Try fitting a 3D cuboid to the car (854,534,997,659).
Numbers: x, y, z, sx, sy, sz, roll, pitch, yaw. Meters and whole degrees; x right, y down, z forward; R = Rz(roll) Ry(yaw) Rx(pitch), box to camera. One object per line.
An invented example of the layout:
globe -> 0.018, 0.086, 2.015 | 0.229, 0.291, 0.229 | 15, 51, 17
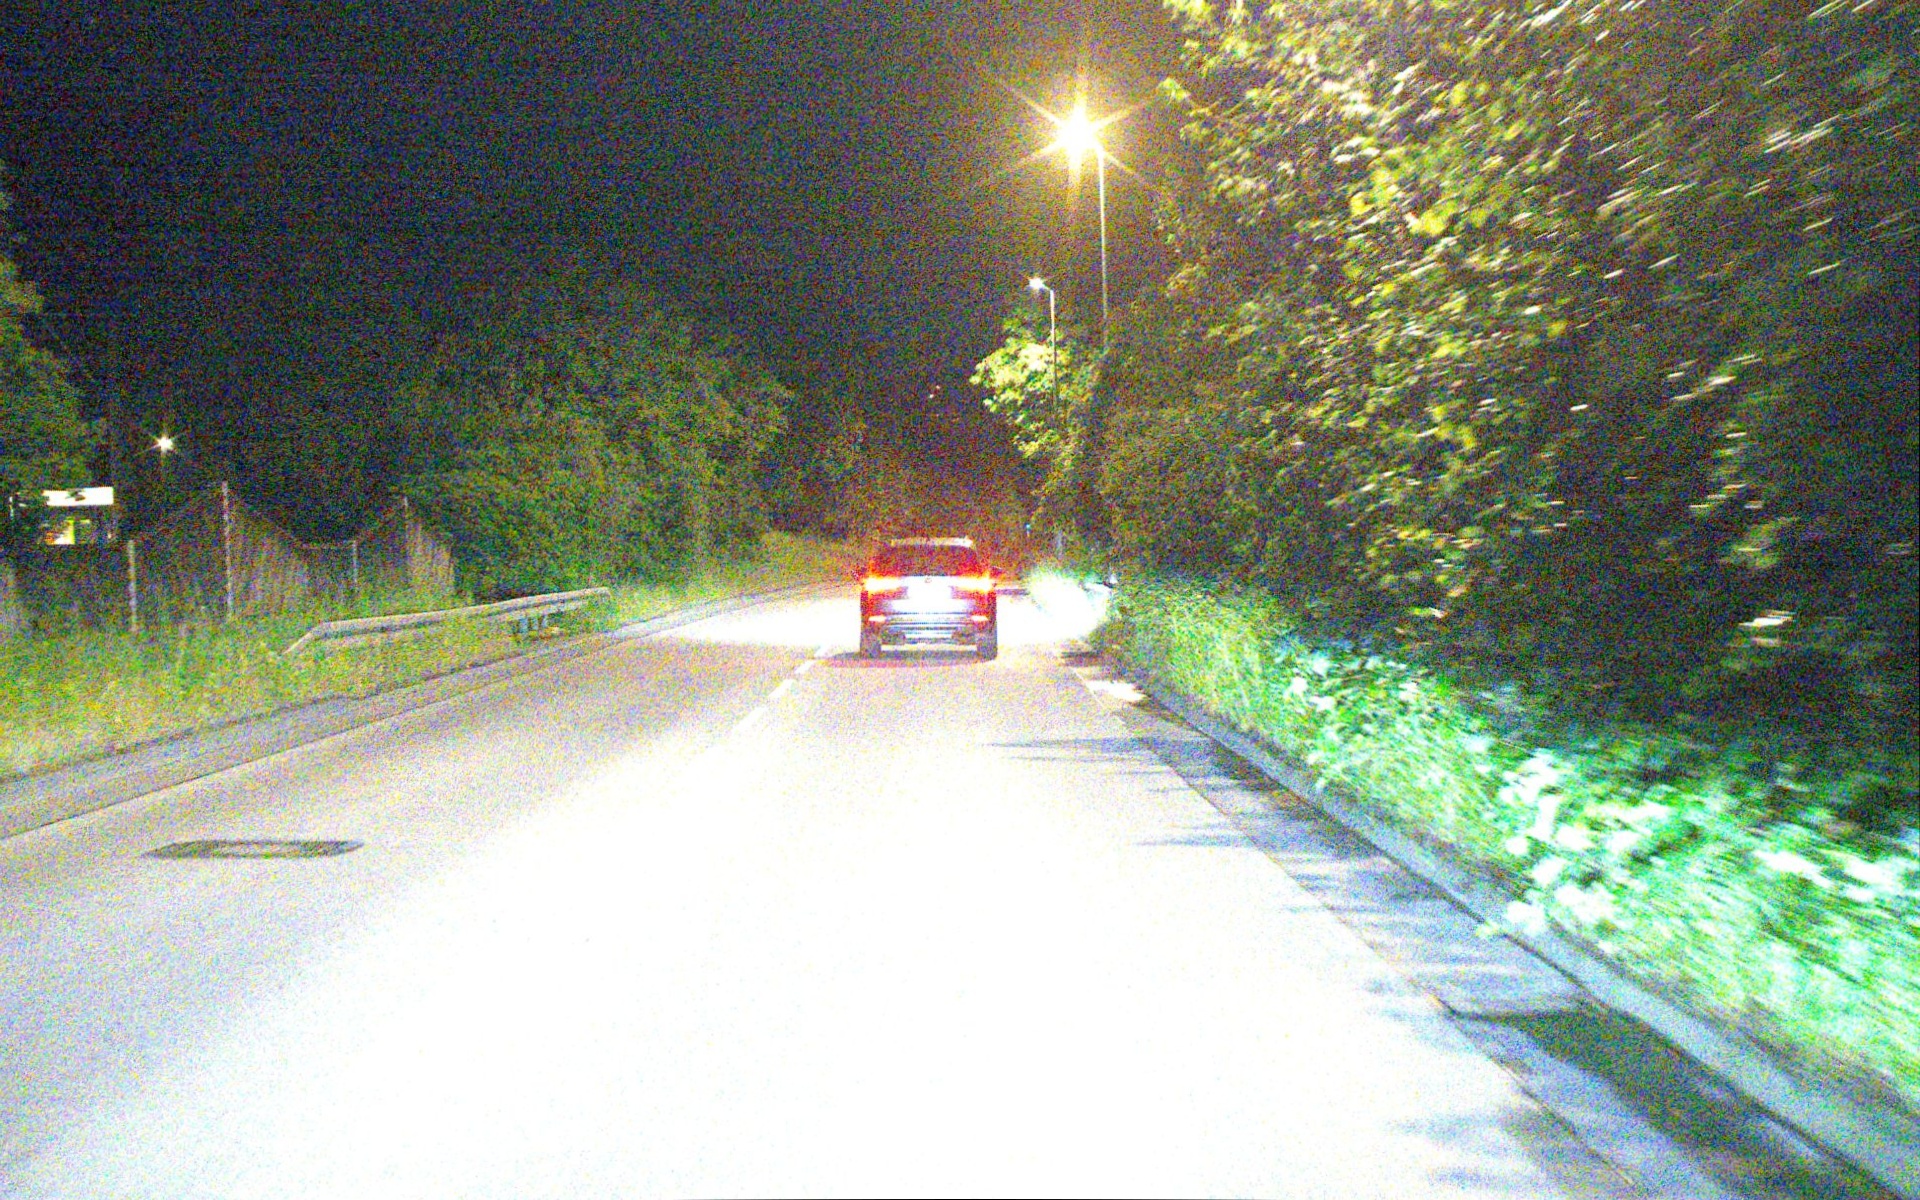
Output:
car -> -0.441, -0.082, 46.004 | 1.815, 1.568, 3.944 | -1, 1, 0
